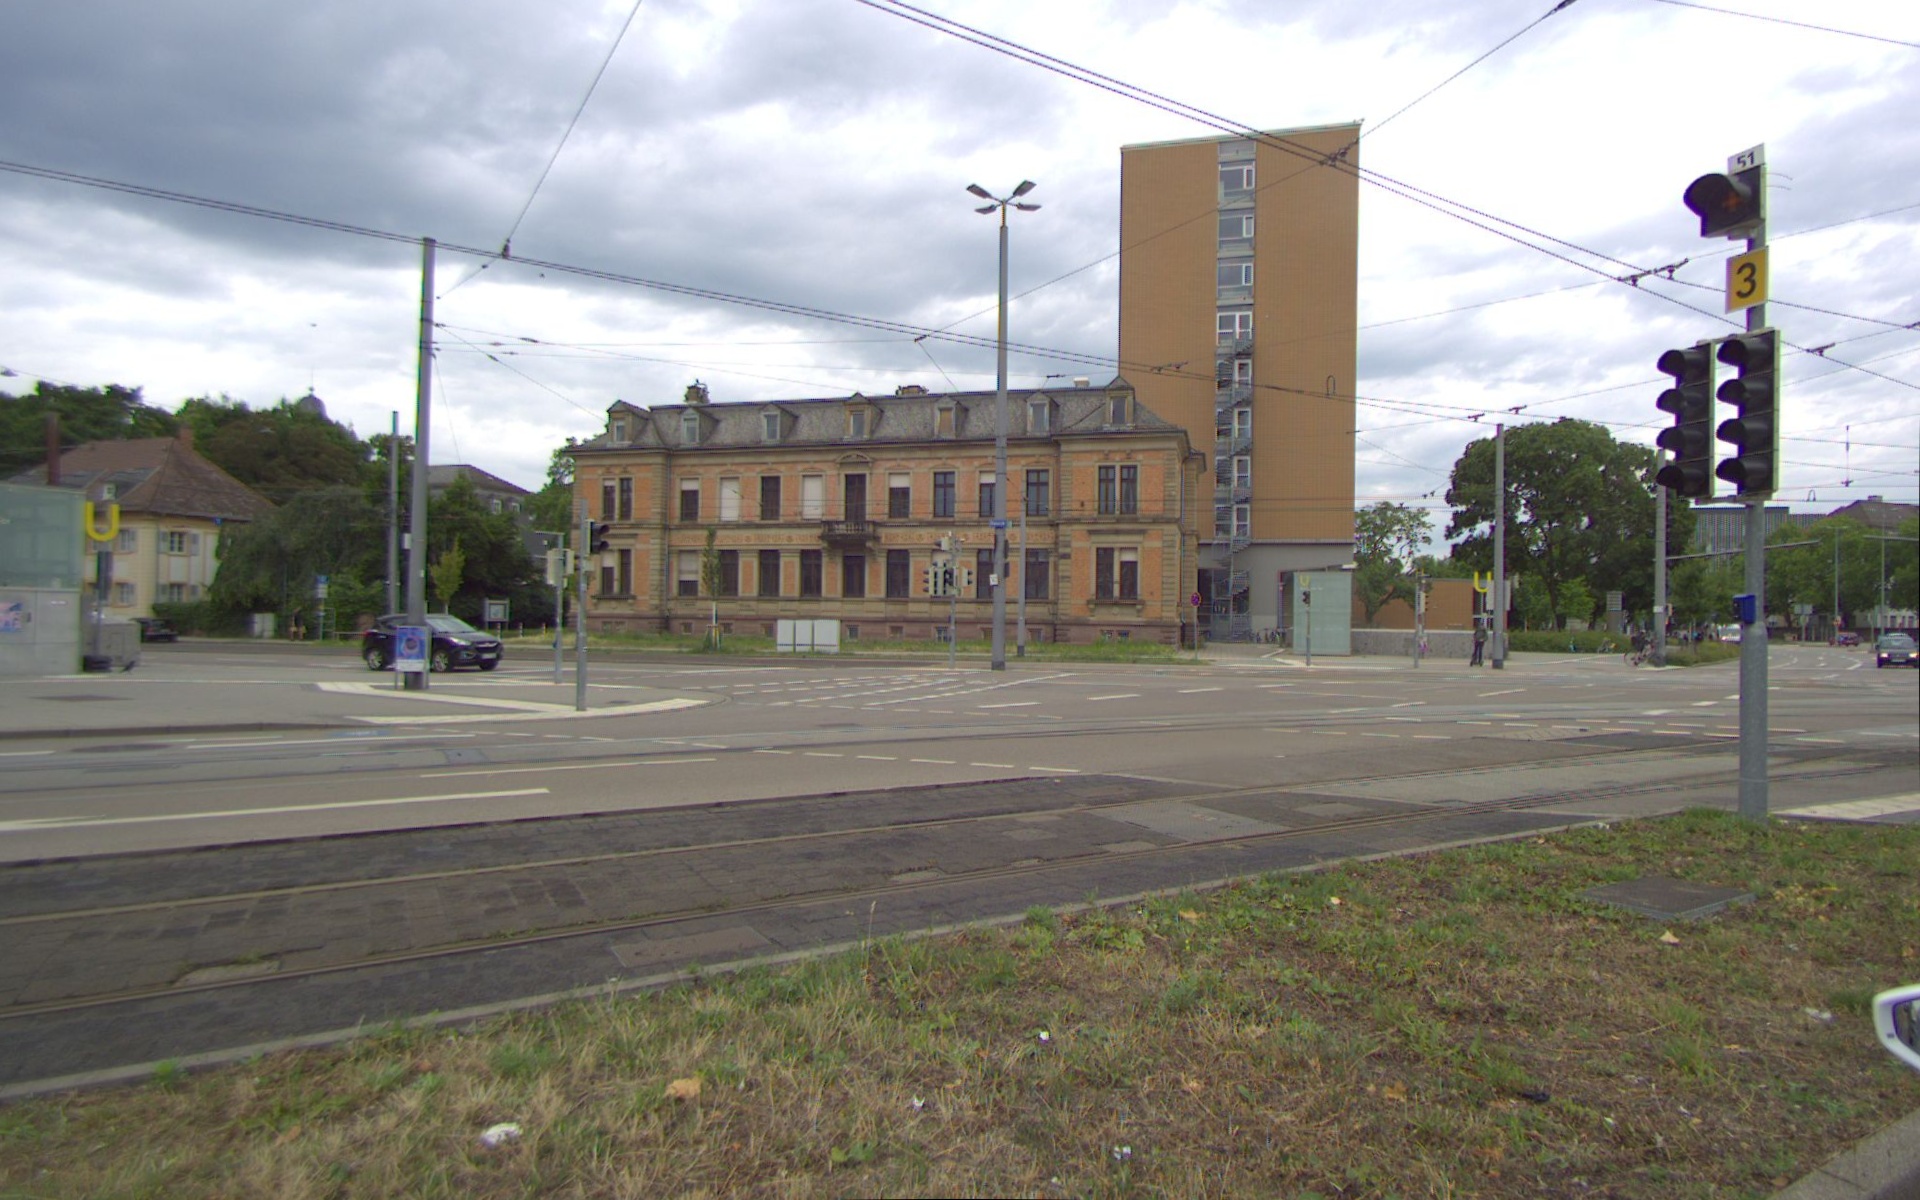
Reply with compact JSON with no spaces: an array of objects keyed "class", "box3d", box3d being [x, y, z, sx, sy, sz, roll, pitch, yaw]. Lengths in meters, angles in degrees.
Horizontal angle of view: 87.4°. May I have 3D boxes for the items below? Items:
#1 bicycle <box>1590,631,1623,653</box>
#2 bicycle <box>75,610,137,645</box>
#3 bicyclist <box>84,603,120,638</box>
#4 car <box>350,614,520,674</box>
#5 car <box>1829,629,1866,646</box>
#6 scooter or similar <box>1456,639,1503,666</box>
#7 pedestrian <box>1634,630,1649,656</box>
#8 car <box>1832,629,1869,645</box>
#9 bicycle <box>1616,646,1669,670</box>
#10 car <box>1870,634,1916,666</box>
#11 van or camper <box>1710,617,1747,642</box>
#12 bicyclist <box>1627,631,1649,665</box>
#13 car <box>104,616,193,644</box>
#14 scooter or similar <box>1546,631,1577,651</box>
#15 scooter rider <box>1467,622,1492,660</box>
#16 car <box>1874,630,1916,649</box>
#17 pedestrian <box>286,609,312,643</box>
[{"class":"bicycle","box3d":[43.701,2.812,67.879,2.223,1.468,0.844,1,-1,-25]},{"class":"bicycle","box3d":[-45.566,1.462,53.602,3.024,1.773,1.086,0,-1,18]},{"class":"bicyclist","box3d":[-45.824,1.097,53.666,0.996,1.806,1.093,1,-1,17]},{"class":"car","box3d":[-15.514,1.274,29.750,4.159,1.632,2.001,1,-1,14]},{"class":"car","box3d":[96.617,4.044,109.346,1.962,1.795,3.997,0,-1,25]},{"class":"scooter or similar","box3d":[23.089,2.334,44.653,1.872,1.180,0.573,1,-1,-9]},{"class":"pedestrian","box3d":[47.931,3.013,70.637,0.681,1.757,0.739,1,-1,-44]},{"class":"car","box3d":[102.568,4.257,115.761,1.961,1.773,3.998,0,-1,23]},{"class":"bicycle","box3d":[34.435,2.926,50.717,2.090,1.041,0.791,4,-2,43]},{"class":"car","box3d":[47.580,2.520,51.269,1.600,1.535,3.646,-1,-2,41]},{"class":"van or camper","box3d":[78.488,3.020,102.620,2.246,2.561,5.563,-1,-2,30]},{"class":"bicyclist","box3d":[34.337,2.433,50.860,0.804,1.677,0.790,-3,-7,42]},{"class":"car","box3d":[-44.760,1.634,55.413,3.920,1.450,2.001,0,-1,18]},{"class":"scooter or similar","box3d":[40.616,2.760,67.856,1.744,1.319,0.629,0,-1,29]},{"class":"scooter rider","box3d":[23.079,1.827,44.656,0.807,1.649,0.568,1,-1,-9]},{"class":"car","box3d":[89.756,3.782,96.483,1.964,1.661,3.994,0,-1,28]},{"class":"pedestrian","box3d":[-36.563,1.434,55.580,0.832,1.857,0.810,1,-1,13]}]
